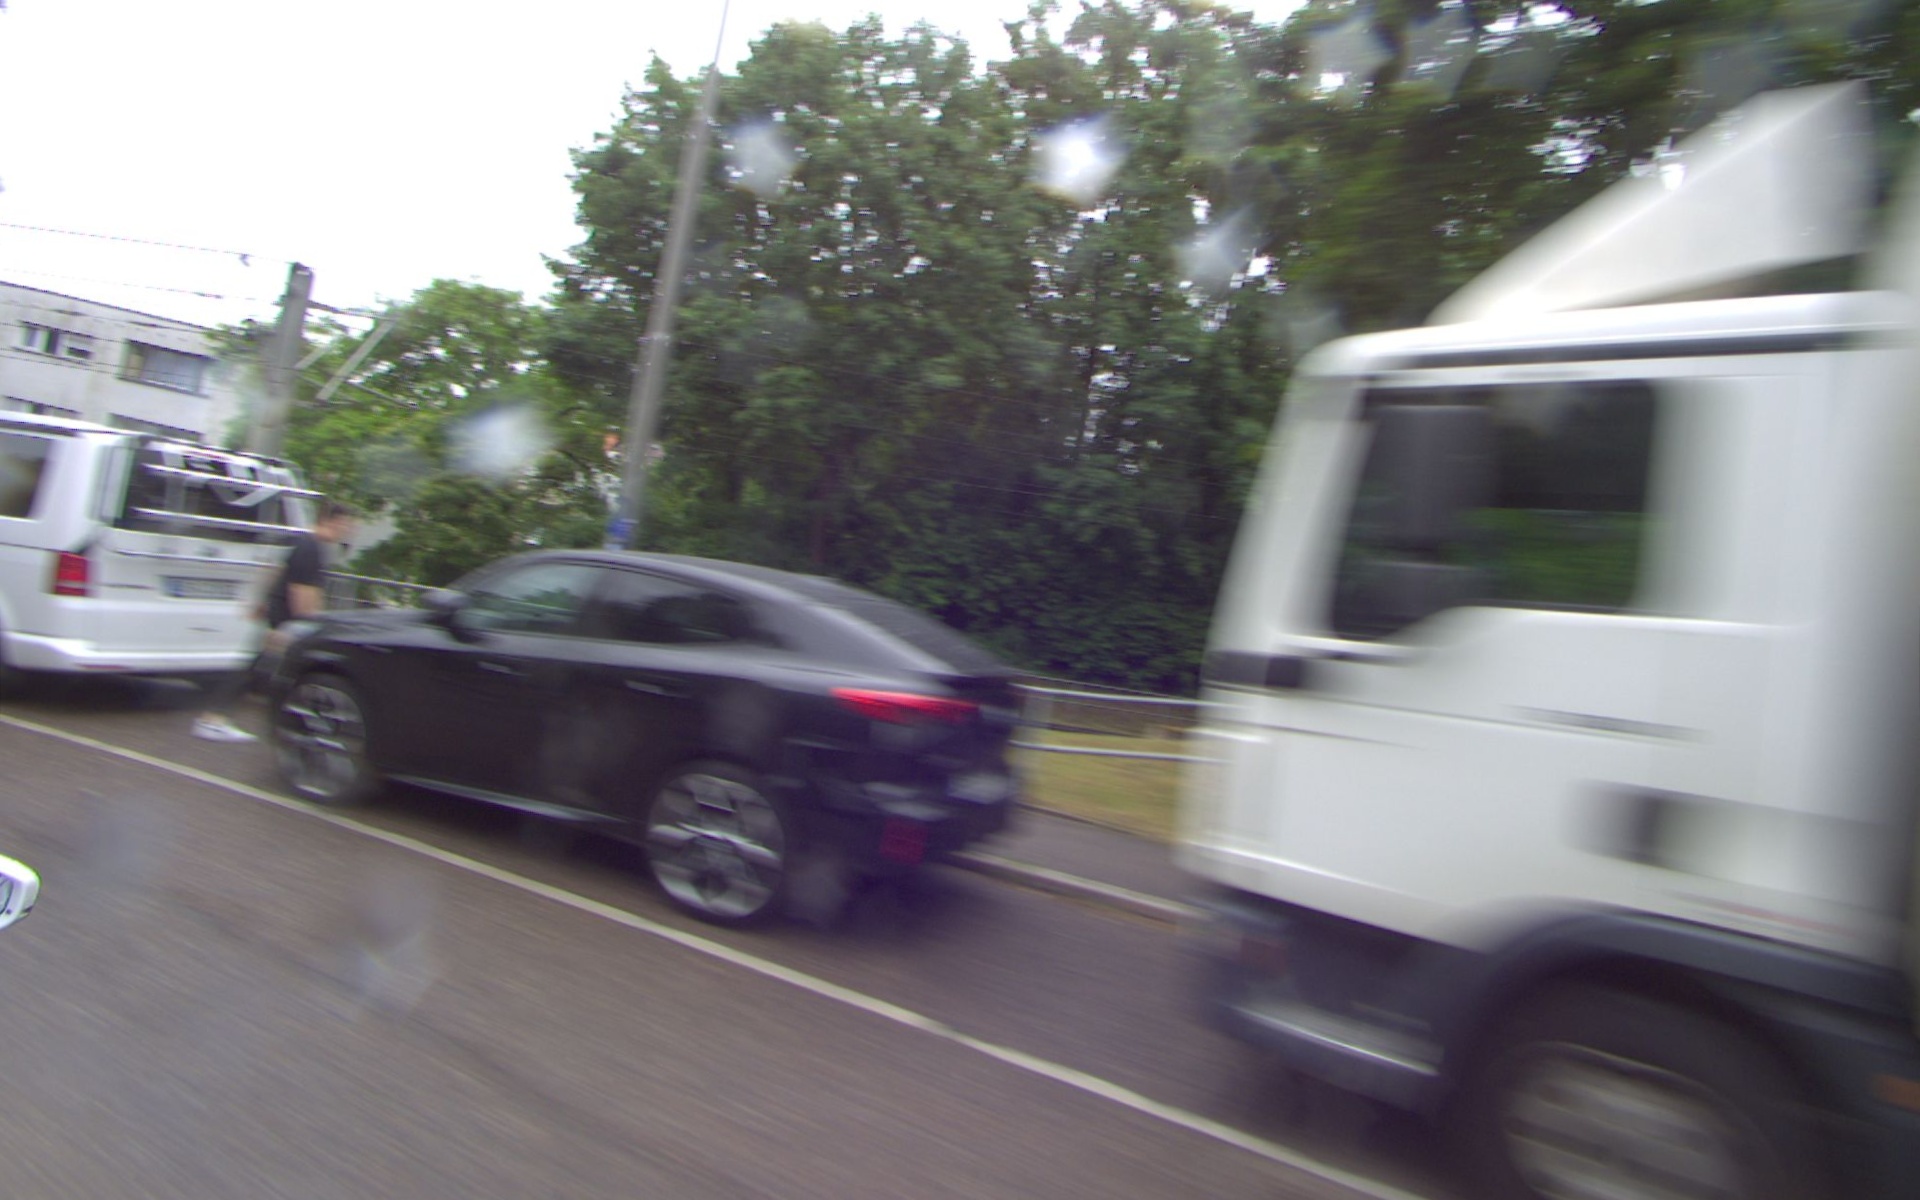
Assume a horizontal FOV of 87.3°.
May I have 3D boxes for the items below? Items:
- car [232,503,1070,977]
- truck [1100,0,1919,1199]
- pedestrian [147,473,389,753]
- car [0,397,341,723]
[{"bbox_3d":[-1.730,0.526,5.577,4.199,1.575,1.723,7,0,23],"label":"car"},{"bbox_3d":[4.789,0.255,1.847,8.204,3.617,3.009,6,-1,34],"label":"truck"},{"bbox_3d":[-4.637,0.087,6.781,0.790,1.682,0.924,8,1,23],"label":"pedestrian"},{"bbox_3d":[-7.612,-0.473,7.977,4.603,2.039,1.883,7,1,17],"label":"car"}]
